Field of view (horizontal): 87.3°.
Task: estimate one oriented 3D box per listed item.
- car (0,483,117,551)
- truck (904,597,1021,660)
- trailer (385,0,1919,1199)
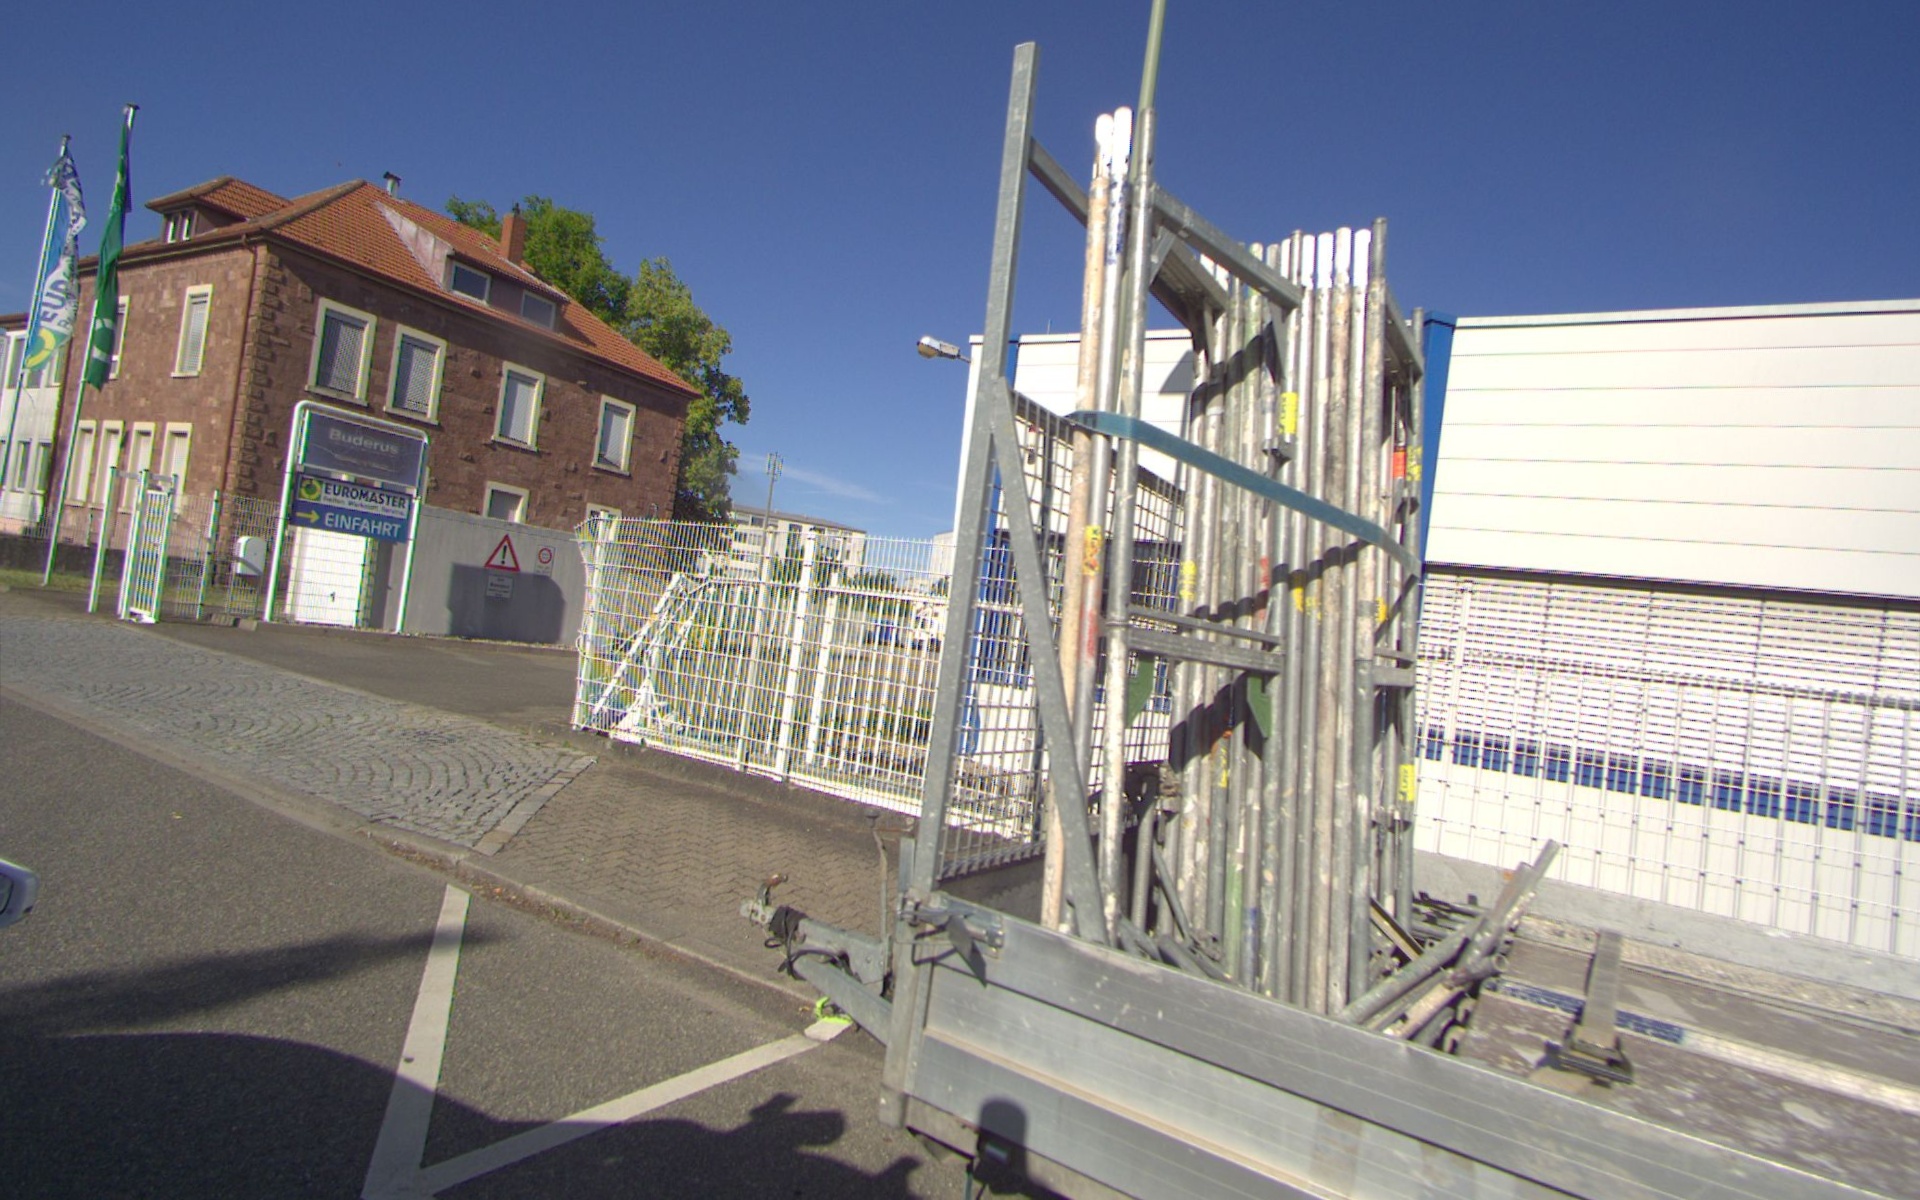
[{"bbox_3d":[-35.491,-3.272,38.051,5.077,2.037,1.876,8,-1,-12],"label":"car"},{"bbox_3d":[0.184,2.139,75.288,8.066,3.606,2.454,8,-1,-19],"label":"truck"},{"bbox_3d":[1.611,0.505,2.295,5.607,2.704,2.464,7,-1,32],"label":"trailer"}]
